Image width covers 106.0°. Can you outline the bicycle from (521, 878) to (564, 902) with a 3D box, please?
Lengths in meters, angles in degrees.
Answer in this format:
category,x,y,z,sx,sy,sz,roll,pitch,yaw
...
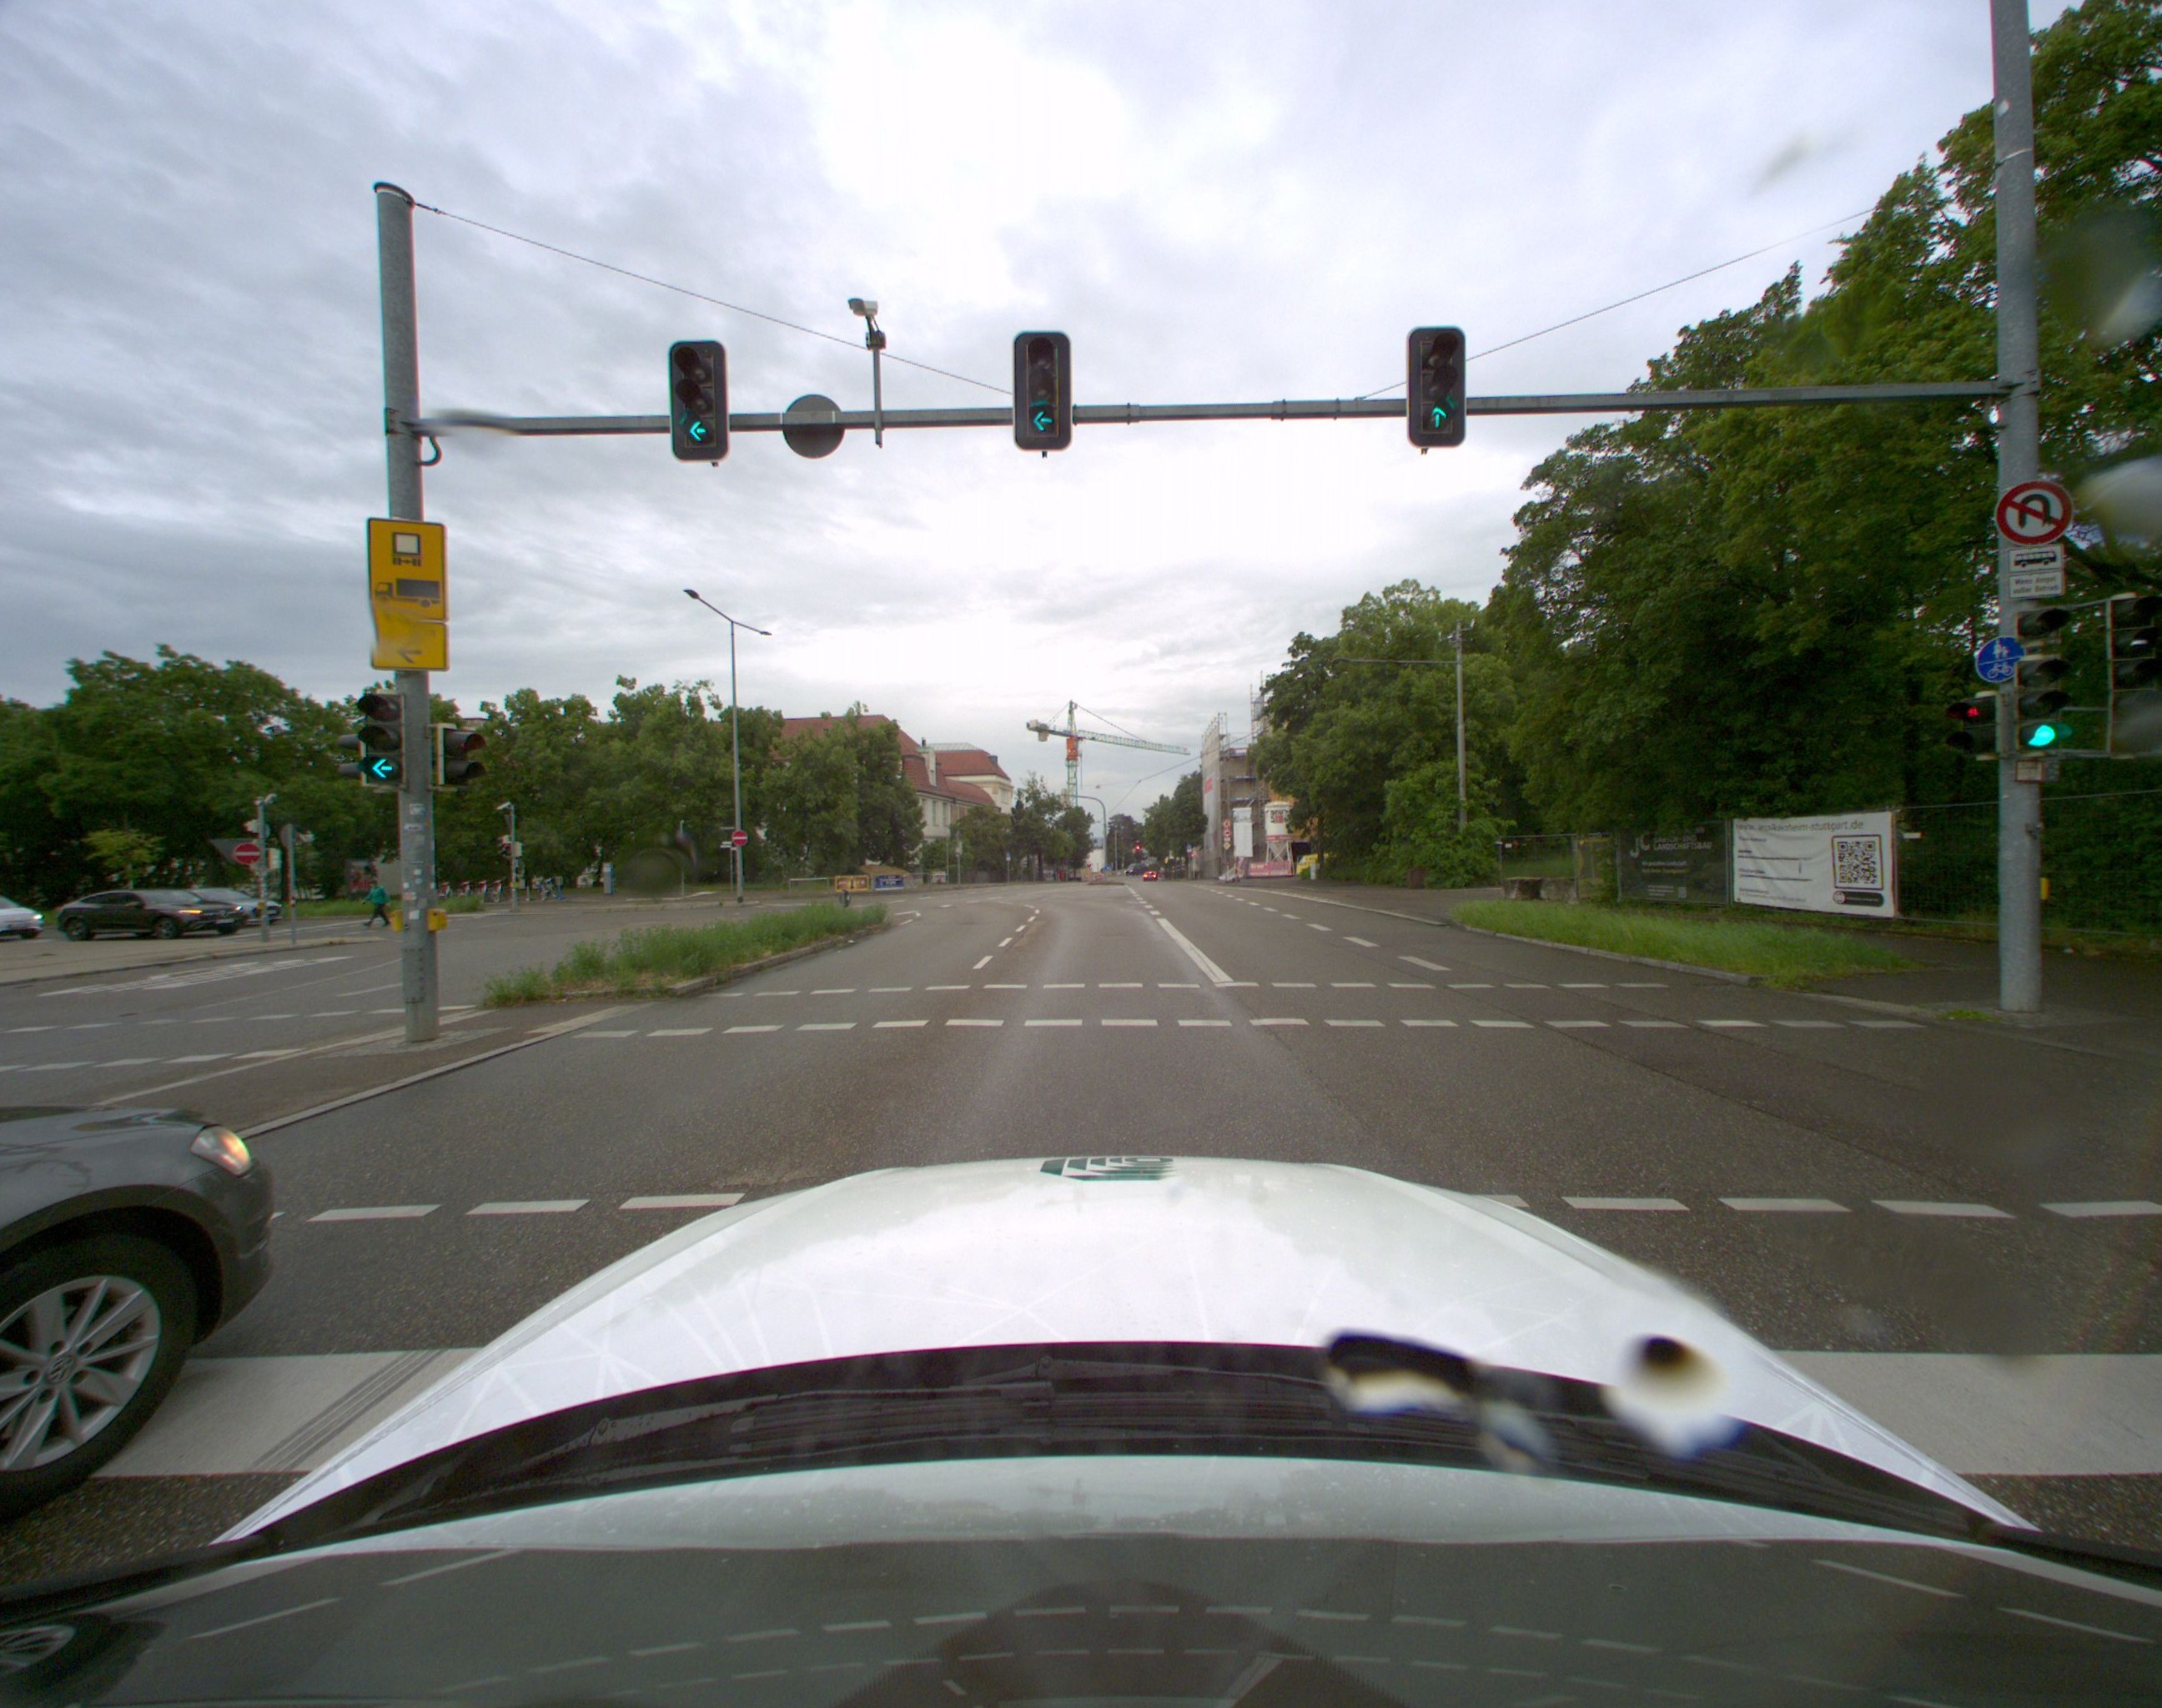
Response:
category,x,y,z,sx,sy,sz,roll,pitch,yaw
bicycle,-29.436,1.947,44.593,0.987,1.249,1.982,0,-1,2

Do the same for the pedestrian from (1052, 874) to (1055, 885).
category,x,y,z,sx,sy,sz,roll,pitch,yaw
pedestrian,-4.381,4.099,130.051,0.491,1.645,0.534,0,-1,6

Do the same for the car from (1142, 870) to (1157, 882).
category,x,y,z,sx,sy,sz,roll,pitch,yaw
car,10.570,3.393,125.120,1.986,1.750,4.001,-2,0,1

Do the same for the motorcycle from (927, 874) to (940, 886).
category,x,y,z,sx,sy,sz,roll,pitch,yaw
motorcycle,-11.834,2.079,65.394,0.846,0.877,0.877,0,-1,1

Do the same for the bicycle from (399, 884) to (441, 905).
category,x,y,z,sx,sy,sz,roll,pitch,yaw
bicycle,-35.964,2.201,44.345,0.649,1.071,1.982,0,-1,2

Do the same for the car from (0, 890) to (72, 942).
category,x,y,z,sx,sy,sz,roll,pitch,yaw
car,-36.499,2.053,27.030,3.539,1.594,2.001,0,-1,1

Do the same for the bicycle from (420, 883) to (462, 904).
category,x,y,z,sx,sy,sz,roll,pitch,yaw
bicycle,-34.987,2.165,44.560,0.649,1.071,1.982,0,-1,2

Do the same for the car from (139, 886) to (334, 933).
category,x,y,z,sx,sy,sz,roll,pitch,yaw
car,-30.591,1.981,29.613,5.006,1.548,2.001,0,-1,1

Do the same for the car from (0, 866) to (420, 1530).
category,x,y,z,sx,sy,sz,roll,pitch,yaw
car,-3.391,0.803,0.781,1.809,1.481,4.378,-2,0,2

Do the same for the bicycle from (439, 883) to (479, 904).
category,x,y,z,sx,sy,sz,roll,pitch,yaw
bicycle,-33.908,2.137,44.429,0.649,1.071,1.982,0,-1,2

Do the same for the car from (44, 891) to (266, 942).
category,x,y,z,sx,sy,sz,roll,pitch,yaw
car,-30.079,2.000,26.564,5.006,1.500,2.001,0,-1,1

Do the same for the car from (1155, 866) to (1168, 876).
category,x,y,z,sx,sy,sz,roll,pitch,yaw
car,16.598,3.472,167.815,1.979,1.750,4.016,-2,0,15

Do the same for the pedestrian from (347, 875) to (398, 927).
category,x,y,z,sx,sy,sz,roll,pitch,yaw
pedestrian,-24.152,1.598,27.770,0.917,1.727,0.949,-1,-1,10

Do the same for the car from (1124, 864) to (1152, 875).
category,x,y,z,sx,sy,sz,roll,pitch,yaw
car,12.695,3.333,179.778,2.822,2.403,6.224,-1,-1,43

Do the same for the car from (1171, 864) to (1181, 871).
category,x,y,z,sx,sy,sz,roll,pitch,yaw
car,25.578,3.584,218.899,1.980,1.750,4.014,-2,0,13

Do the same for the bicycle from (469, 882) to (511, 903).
category,x,y,z,sx,sy,sz,roll,pitch,yaw
bicycle,-32.269,2.089,44.485,0.798,1.071,1.982,0,-1,2

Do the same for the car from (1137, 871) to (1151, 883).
category,x,y,z,sx,sy,sz,roll,pitch,yaw
car,10.245,3.713,131.981,1.986,1.750,4.001,-2,0,1

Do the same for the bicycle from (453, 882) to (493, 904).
category,x,y,z,sx,sy,sz,roll,pitch,yaw
bicycle,-33.018,2.106,44.254,0.649,1.071,1.982,0,-1,2
